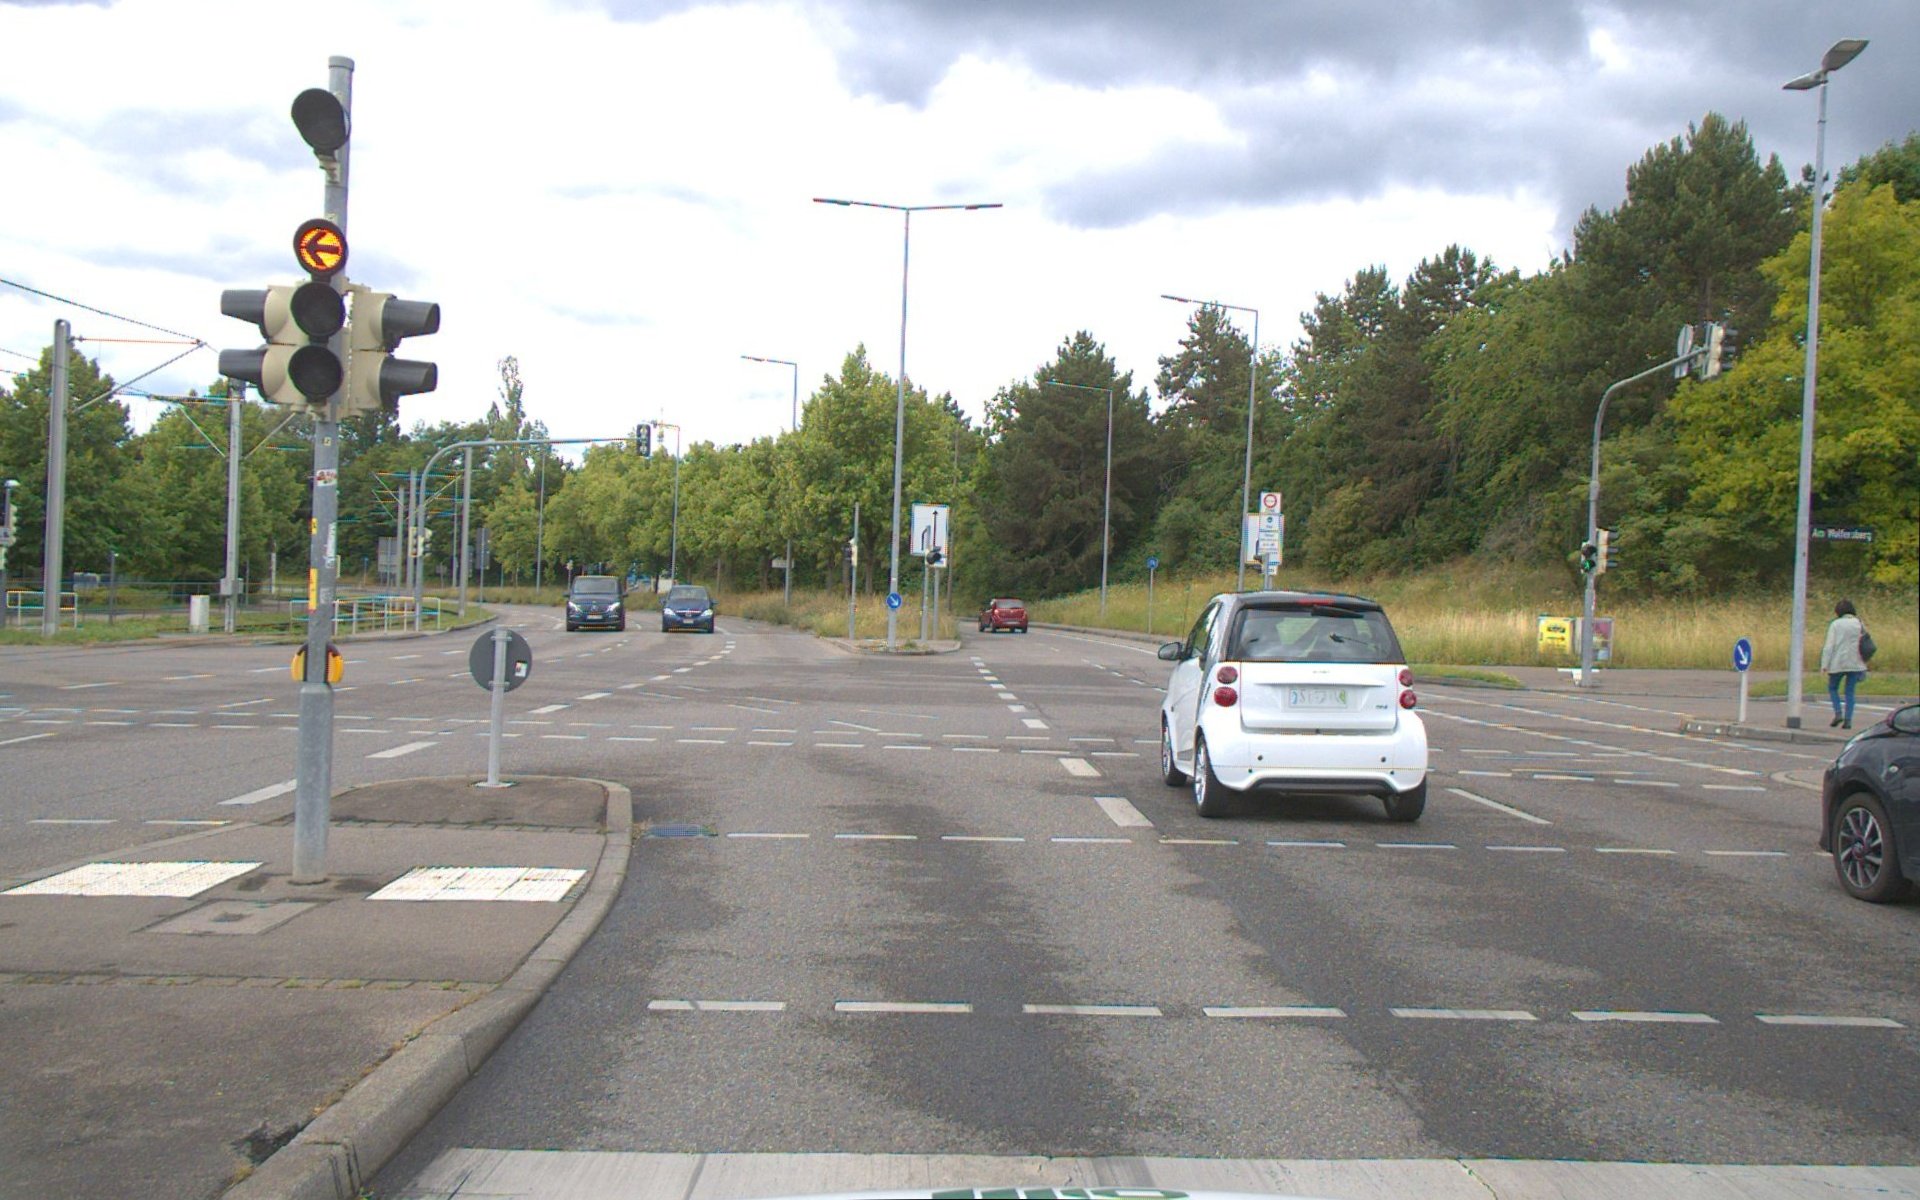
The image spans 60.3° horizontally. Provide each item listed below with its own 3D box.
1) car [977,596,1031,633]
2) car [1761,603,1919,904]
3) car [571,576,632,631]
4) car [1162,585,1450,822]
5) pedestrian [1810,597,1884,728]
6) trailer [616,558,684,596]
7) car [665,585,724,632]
[{"bbox_3d":[1.968,0.646,75.731,1.751,1.631,3.878,1,0,-9],"label":"car"},{"bbox_3d":[5.529,0.767,7.800,1.580,1.479,3.881,1,0,-1],"label":"car"},{"bbox_3d":[-12.488,0.113,57.792,1.853,1.844,5.080,0,0,-10],"label":"car"},{"bbox_3d":[2.464,0.693,12.344,1.559,1.543,2.766,1,0,0],"label":"car"},{"bbox_3d":[11.691,0.812,21.812,0.630,1.691,0.714,1,-1,6],"label":"pedestrian"},{"bbox_3d":[-25.495,-1.868,135.680,2.733,3.065,5.992,1,-1,-42],"label":"trailer"},{"bbox_3d":[-9.096,0.298,56.813,1.702,1.535,3.656,1,0,-5],"label":"car"}]
